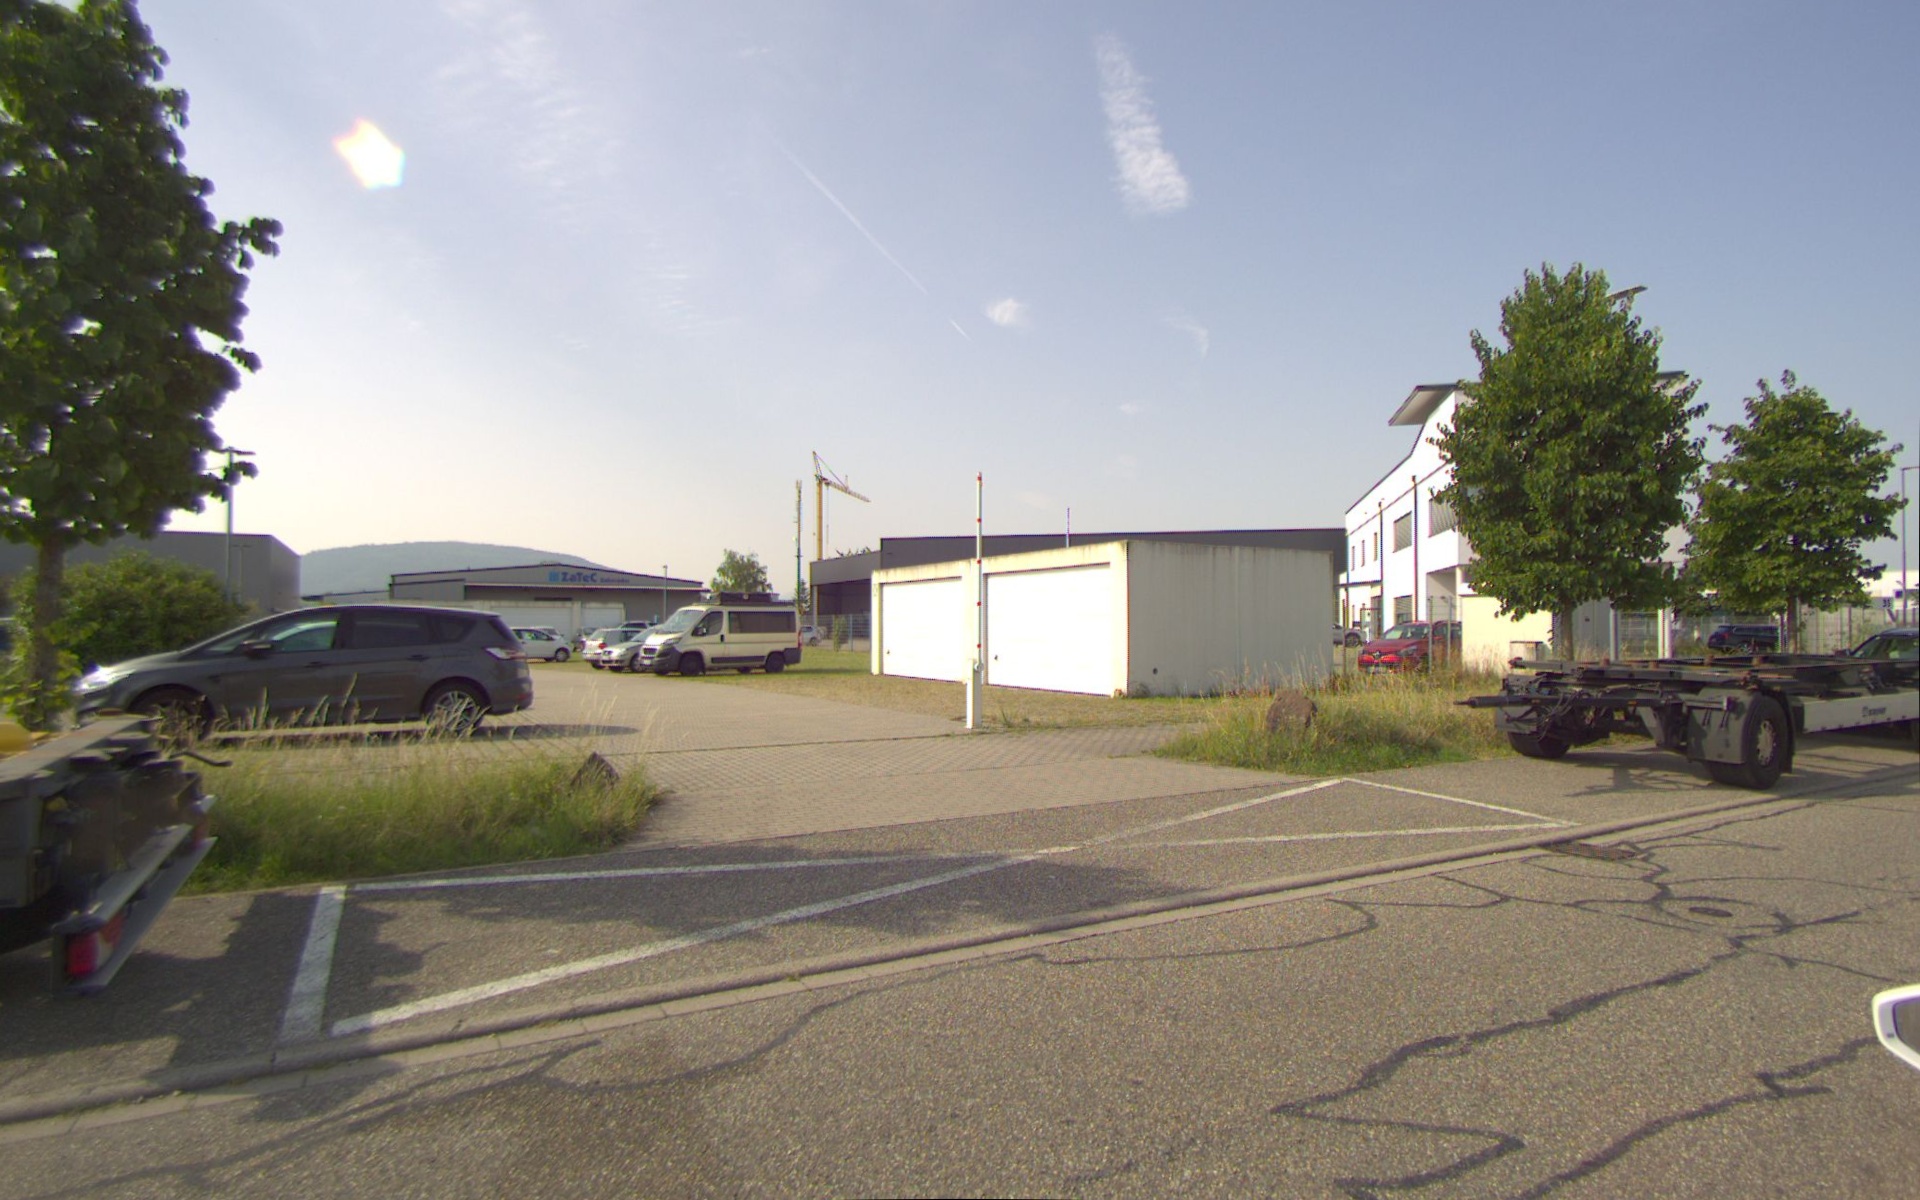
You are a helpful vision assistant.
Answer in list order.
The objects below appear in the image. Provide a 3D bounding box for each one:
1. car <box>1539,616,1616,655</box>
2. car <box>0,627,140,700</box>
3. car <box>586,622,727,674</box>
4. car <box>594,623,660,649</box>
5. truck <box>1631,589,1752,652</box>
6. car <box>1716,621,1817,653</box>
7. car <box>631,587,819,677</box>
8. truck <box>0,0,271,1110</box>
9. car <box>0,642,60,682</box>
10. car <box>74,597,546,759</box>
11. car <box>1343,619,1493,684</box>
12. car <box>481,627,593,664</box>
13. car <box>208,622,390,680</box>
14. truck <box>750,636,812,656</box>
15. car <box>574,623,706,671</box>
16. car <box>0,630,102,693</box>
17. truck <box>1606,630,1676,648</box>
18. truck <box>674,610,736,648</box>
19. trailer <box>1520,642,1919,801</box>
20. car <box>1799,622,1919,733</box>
[{"bbox_3d":[24.124,1.370,39.366,1.531,1.434,3.923,0,-1,15],"label":"car"},{"bbox_3d":[-18.363,1.246,20.131,1.175,1.407,2.844,-1,-2,43],"label":"car"},{"bbox_3d":[-10.099,1.588,33.571,4.120,1.634,1.825,2,-3,-41],"label":"car"},{"bbox_3d":[-22.276,2.404,67.193,3.950,1.664,1.858,1,-1,-28],"label":"car"},{"bbox_3d":[51.280,1.489,70.973,2.582,3.981,12.925,0,-1,16],"label":"truck"},{"bbox_3d":[38.848,1.778,48.451,3.433,1.473,1.598,1,-1,13],"label":"car"},{"bbox_3d":[-7.293,1.032,31.554,5.418,2.580,2.033,2,-3,-41],"label":"car"},{"bbox_3d":[-7.437,-0.506,2.008,9.683,3.933,2.444,2,0,-29],"label":"truck"},{"bbox_3d":[-25.120,1.601,25.949,2.690,1.007,1.078,2,-3,-39],"label":"car"},{"bbox_3d":[-7.866,0.882,12.671,4.646,1.709,1.983,1,-2,-32],"label":"car"},{"bbox_3d":[12.319,1.330,26.924,4.261,1.545,1.758,0,-1,-36],"label":"car"},{"bbox_3d":[-17.959,1.945,42.729,4.120,1.500,1.561,2,-3,-41],"label":"car"},{"bbox_3d":[-18.230,1.367,27.785,3.970,1.461,1.878,2,-2,-42],"label":"car"},{"bbox_3d":[-12.466,3.168,70.049,3.947,1.327,1.860,1,-1,-26],"label":"truck"},{"bbox_3d":[-11.432,1.671,35.986,4.120,1.634,1.825,2,-3,-41],"label":"car"},{"bbox_3d":[-20.339,1.308,21.635,1.175,1.331,2.698,-1,-2,43],"label":"car"},{"bbox_3d":[53.413,3.025,78.988,2.481,1.282,6.530,0,-1,14],"label":"truck"},{"bbox_3d":[-17.897,2.032,70.627,3.946,2.547,1.988,1,-2,-25],"label":"truck"},{"bbox_3d":[9.690,1.221,11.839,7.072,1.249,2.120,0,0,-30],"label":"trailer"},{"bbox_3d":[15.160,1.125,15.518,4.379,1.486,1.984,0,0,-30],"label":"car"}]
